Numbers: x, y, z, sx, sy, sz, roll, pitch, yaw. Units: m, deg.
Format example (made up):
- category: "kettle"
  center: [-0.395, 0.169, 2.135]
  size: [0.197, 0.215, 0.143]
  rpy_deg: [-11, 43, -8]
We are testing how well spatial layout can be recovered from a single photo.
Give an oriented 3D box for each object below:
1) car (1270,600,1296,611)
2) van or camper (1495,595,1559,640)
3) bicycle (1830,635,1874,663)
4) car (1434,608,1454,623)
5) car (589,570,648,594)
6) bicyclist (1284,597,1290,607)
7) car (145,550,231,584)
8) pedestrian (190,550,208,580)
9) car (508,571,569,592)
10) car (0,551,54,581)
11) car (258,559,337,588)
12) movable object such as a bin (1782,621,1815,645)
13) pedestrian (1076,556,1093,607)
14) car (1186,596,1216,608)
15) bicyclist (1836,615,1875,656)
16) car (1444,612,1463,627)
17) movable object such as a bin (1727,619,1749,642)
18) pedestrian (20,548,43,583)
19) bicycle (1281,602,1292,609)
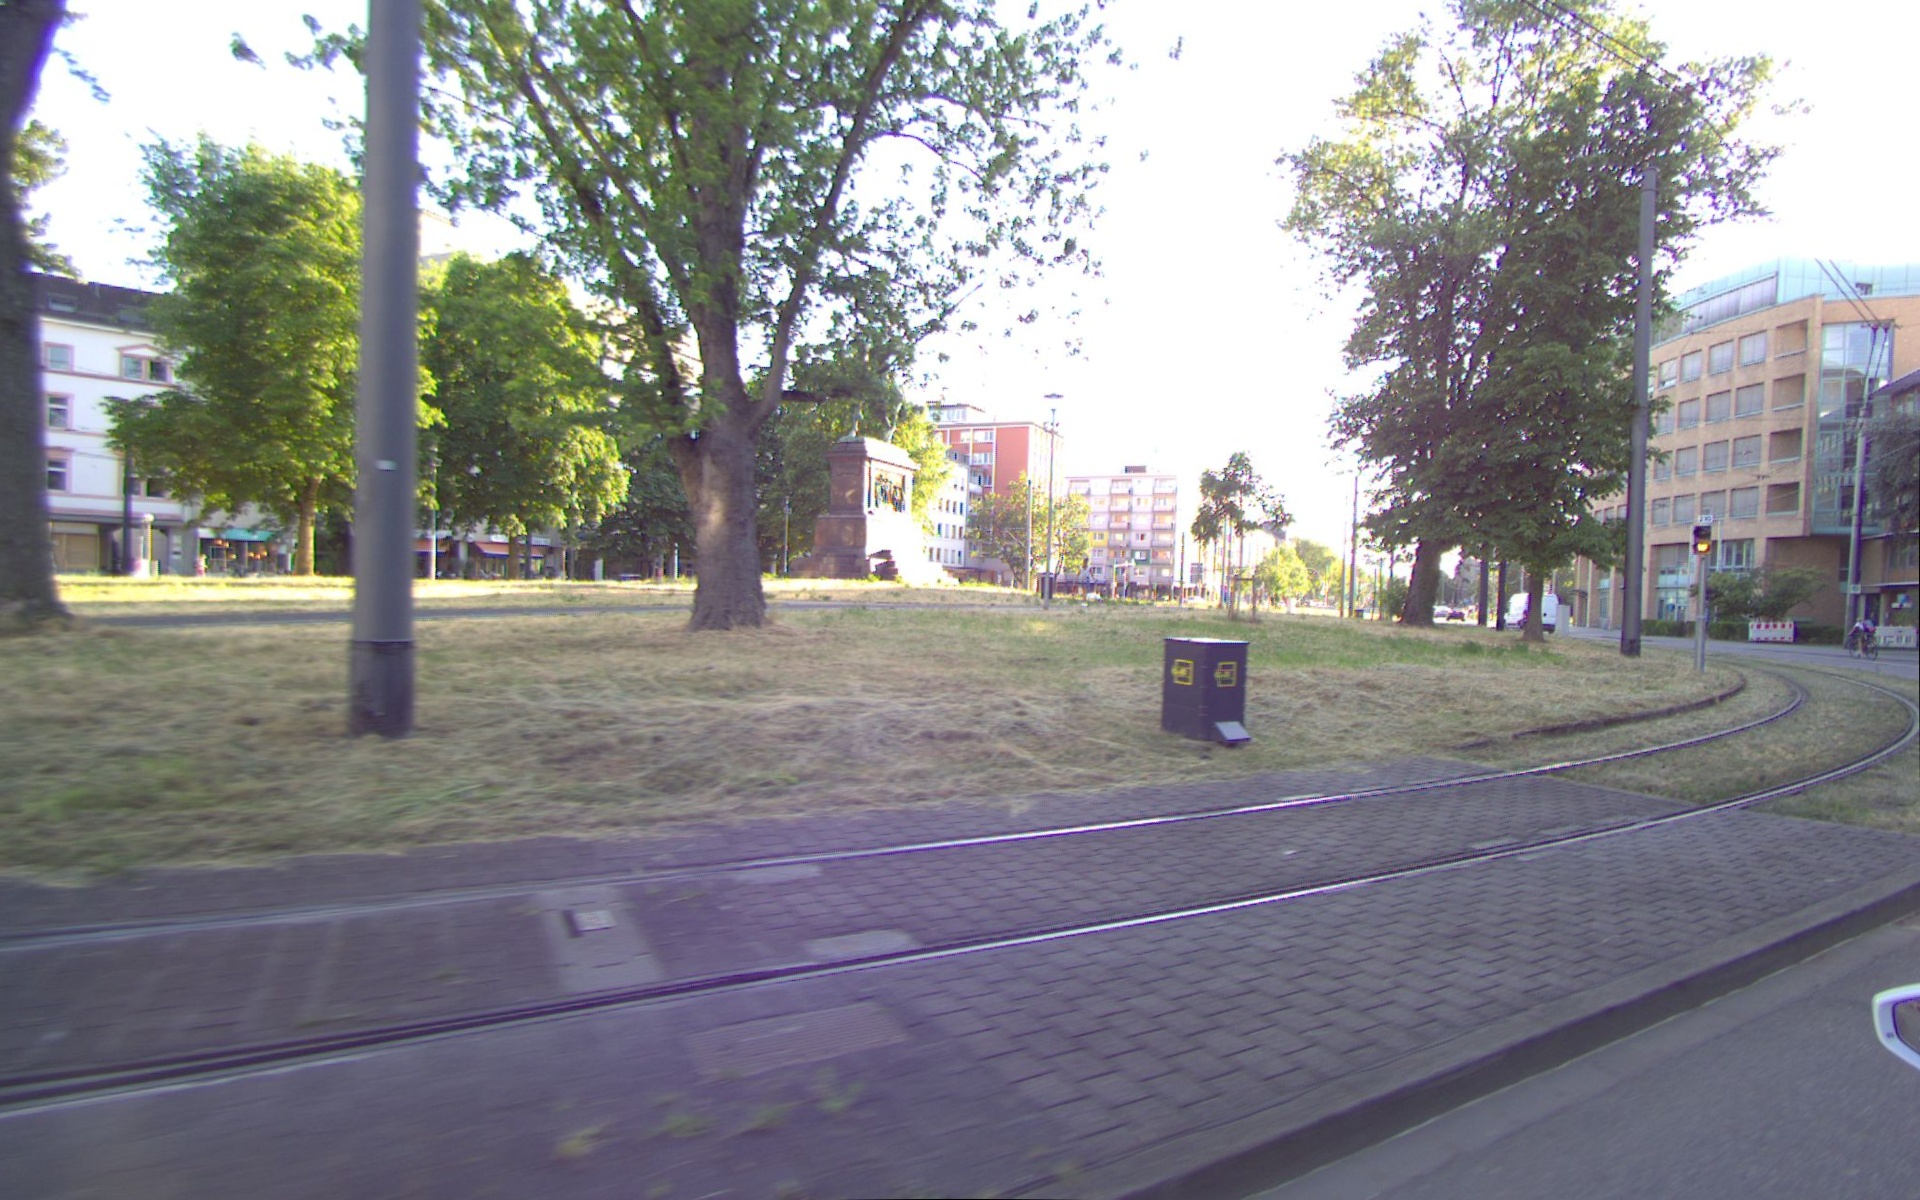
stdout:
- category: "car"
  center: [53.370, 0.938, 165.931]
  size: [3.921, 1.453, 1.718]
  rpy_deg: [4, 2, 20]
- category: "van or camper"
  center: [36.617, 1.092, 65.017]
  size: [2.224, 2.660, 4.505]
  rpy_deg: [2, 1, 11]
- category: "bicycle"
  center: [34.312, 1.875, 38.653]
  size: [0.506, 0.967, 1.776]
  rpy_deg: [4, 2, 17]
- category: "car"
  center: [59.087, 1.862, 122.611]
  size: [1.765, 1.587, 3.999]
  rpy_deg: [2, 1, 21]
- category: "car"
  center: [-27.603, -1.463, 81.311]
  size: [4.178, 1.819, 1.738]
  rpy_deg: [0, 2, -43]
- category: "bicyclist"
  center: [53.416, 0.354, 164.218]
  size: [0.839, 1.462, 0.663]
  rpy_deg: [4, 2, 18]
- category: "car"
  center: [-48.228, -2.057, 62.784]
  size: [4.178, 1.970, 1.738]
  rpy_deg: [0, 2, -43]
- category: "pedestrian"
  center: [-44.370, -2.051, 58.569]
  size: [0.793, 1.724, 0.791]
  rpy_deg: [1, 2, -38]
- category: "car"
  center: [-32.578, -1.414, 77.704]
  size: [4.038, 1.578, 1.842]
  rpy_deg: [0, 2, -43]
- category: "car"
  center: [-54.702, -1.970, 57.677]
  size: [3.971, 1.686, 1.738]
  rpy_deg: [0, 2, -43]
- category: "car"
  center: [-44.254, -1.773, 67.137]
  size: [4.178, 1.819, 1.915]
  rpy_deg: [0, 2, -43]
- category: "movable object such as a bin"
  center: [53.866, 2.105, 64.572]
  size: [1.318, 1.443, 0.924]
  rpy_deg: [2, 2, 18]
- category: "pedestrian"
  center: [4.286, -0.622, 34.593]
  size: [0.466, 1.712, 0.836]
  rpy_deg: [2, 1, 11]
- category: "car"
  center: [30.392, 0.237, 126.881]
  size: [3.968, 1.409, 1.691]
  rpy_deg: [0, 2, -41]
- category: "bicyclist"
  center: [34.279, 1.338, 38.443]
  size: [0.644, 1.503, 1.038]
  rpy_deg: [4, 1, 17]
- category: "car"
  center: [51.709, 2.020, 105.305]
  size: [1.710, 1.404, 3.996]
  rpy_deg: [2, 1, 25]
- category: "movable object such as a bin"
  center: [51.572, 2.032, 66.572]
  size: [0.960, 1.457, 1.337]
  rpy_deg: [3, 2, 44]
- category: "pedestrian"
  center: [-46.281, -1.720, 50.053]
  size: [0.794, 1.724, 0.791]
  rpy_deg: [0, 2, -40]
- category: "bicycle"
  center: [53.401, 0.971, 164.244]
  size: [1.699, 0.983, 0.704]
  rpy_deg: [5, 3, 16]
